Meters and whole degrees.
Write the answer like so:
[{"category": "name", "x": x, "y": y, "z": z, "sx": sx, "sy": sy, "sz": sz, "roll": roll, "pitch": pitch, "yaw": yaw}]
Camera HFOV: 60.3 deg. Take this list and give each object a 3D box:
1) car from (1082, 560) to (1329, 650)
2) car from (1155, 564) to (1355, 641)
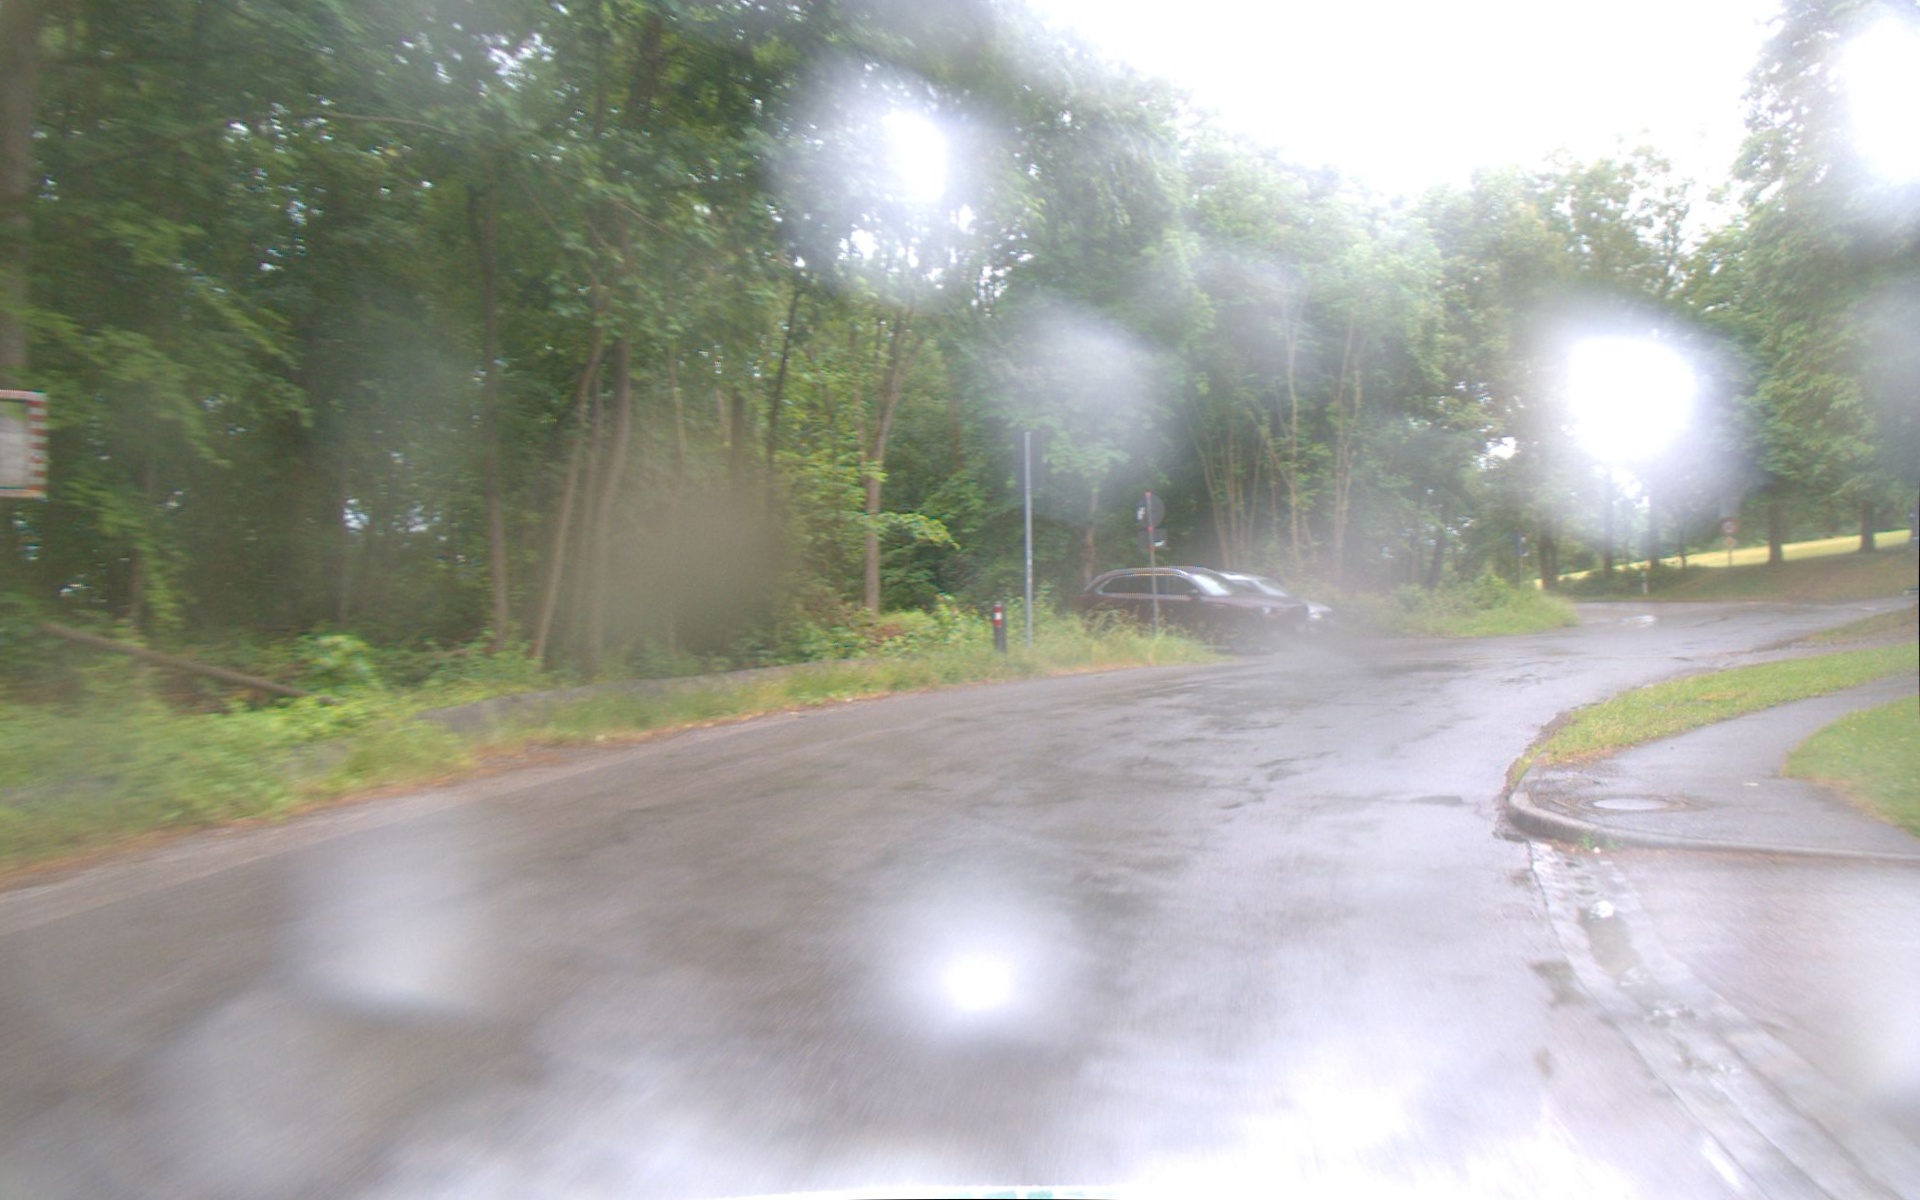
[{"category": "car", "x": 5.020, "y": 0.082, "z": 34.218, "sx": 4.745, "sy": 1.706, "sz": 1.869, "roll": 0, "pitch": 2, "yaw": 37}, {"category": "car", "x": 6.562, "y": 0.040, "z": 37.020, "sx": 4.070, "sy": 1.581, "sz": 1.766, "roll": 0, "pitch": 2, "yaw": 39}]
